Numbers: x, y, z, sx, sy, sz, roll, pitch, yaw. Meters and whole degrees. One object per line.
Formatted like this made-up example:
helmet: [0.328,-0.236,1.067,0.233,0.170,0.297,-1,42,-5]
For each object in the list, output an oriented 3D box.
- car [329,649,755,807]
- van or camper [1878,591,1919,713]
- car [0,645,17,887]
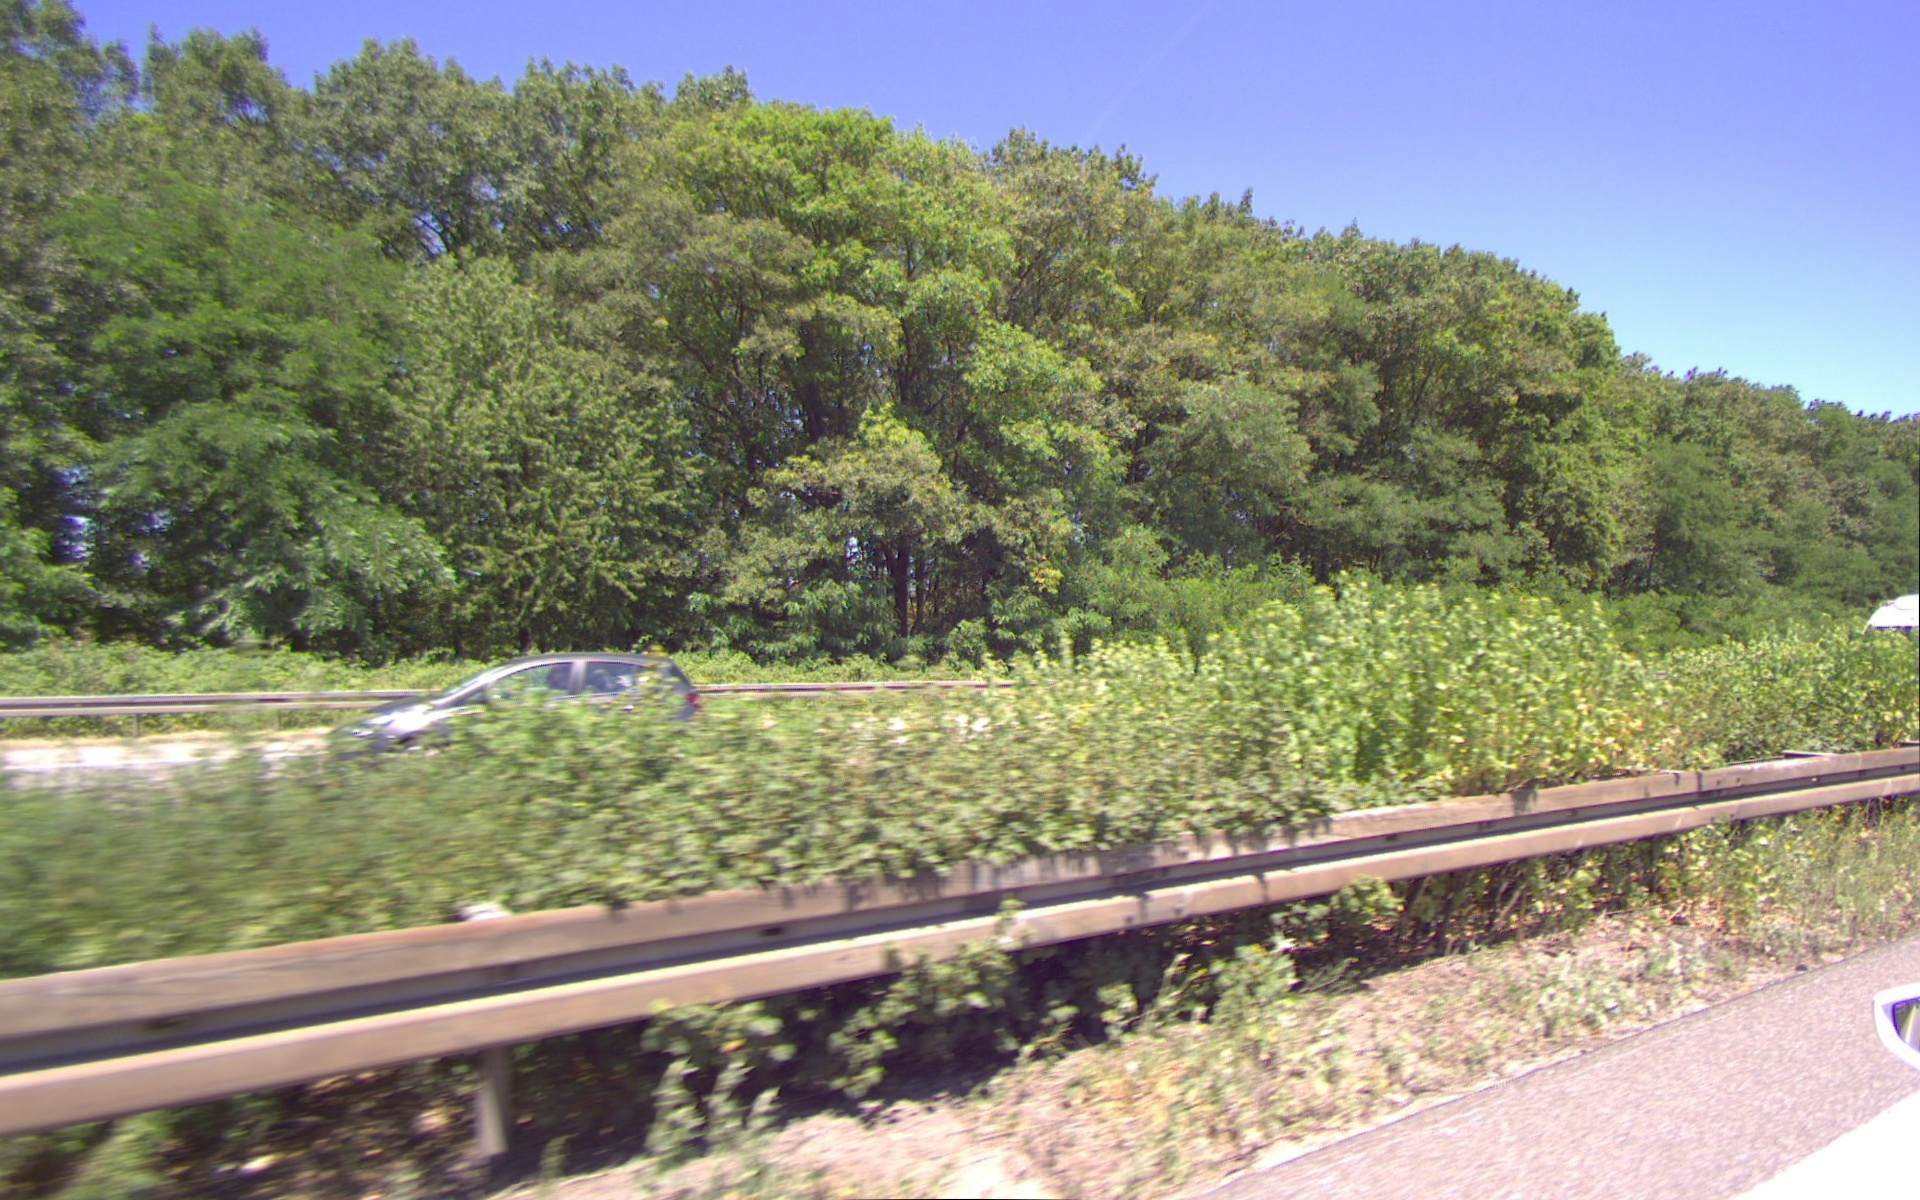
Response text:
car: [-4.716,1.333,11.601,4.257,1.474,1.785,2,-1,-31]
van or camper: [25.748,1.309,25.320,6.919,2.883,1.984,2,-1,-31]
car: [-8.179,1.126,5.565,3.954,1.714,1.785,2,-1,-31]
